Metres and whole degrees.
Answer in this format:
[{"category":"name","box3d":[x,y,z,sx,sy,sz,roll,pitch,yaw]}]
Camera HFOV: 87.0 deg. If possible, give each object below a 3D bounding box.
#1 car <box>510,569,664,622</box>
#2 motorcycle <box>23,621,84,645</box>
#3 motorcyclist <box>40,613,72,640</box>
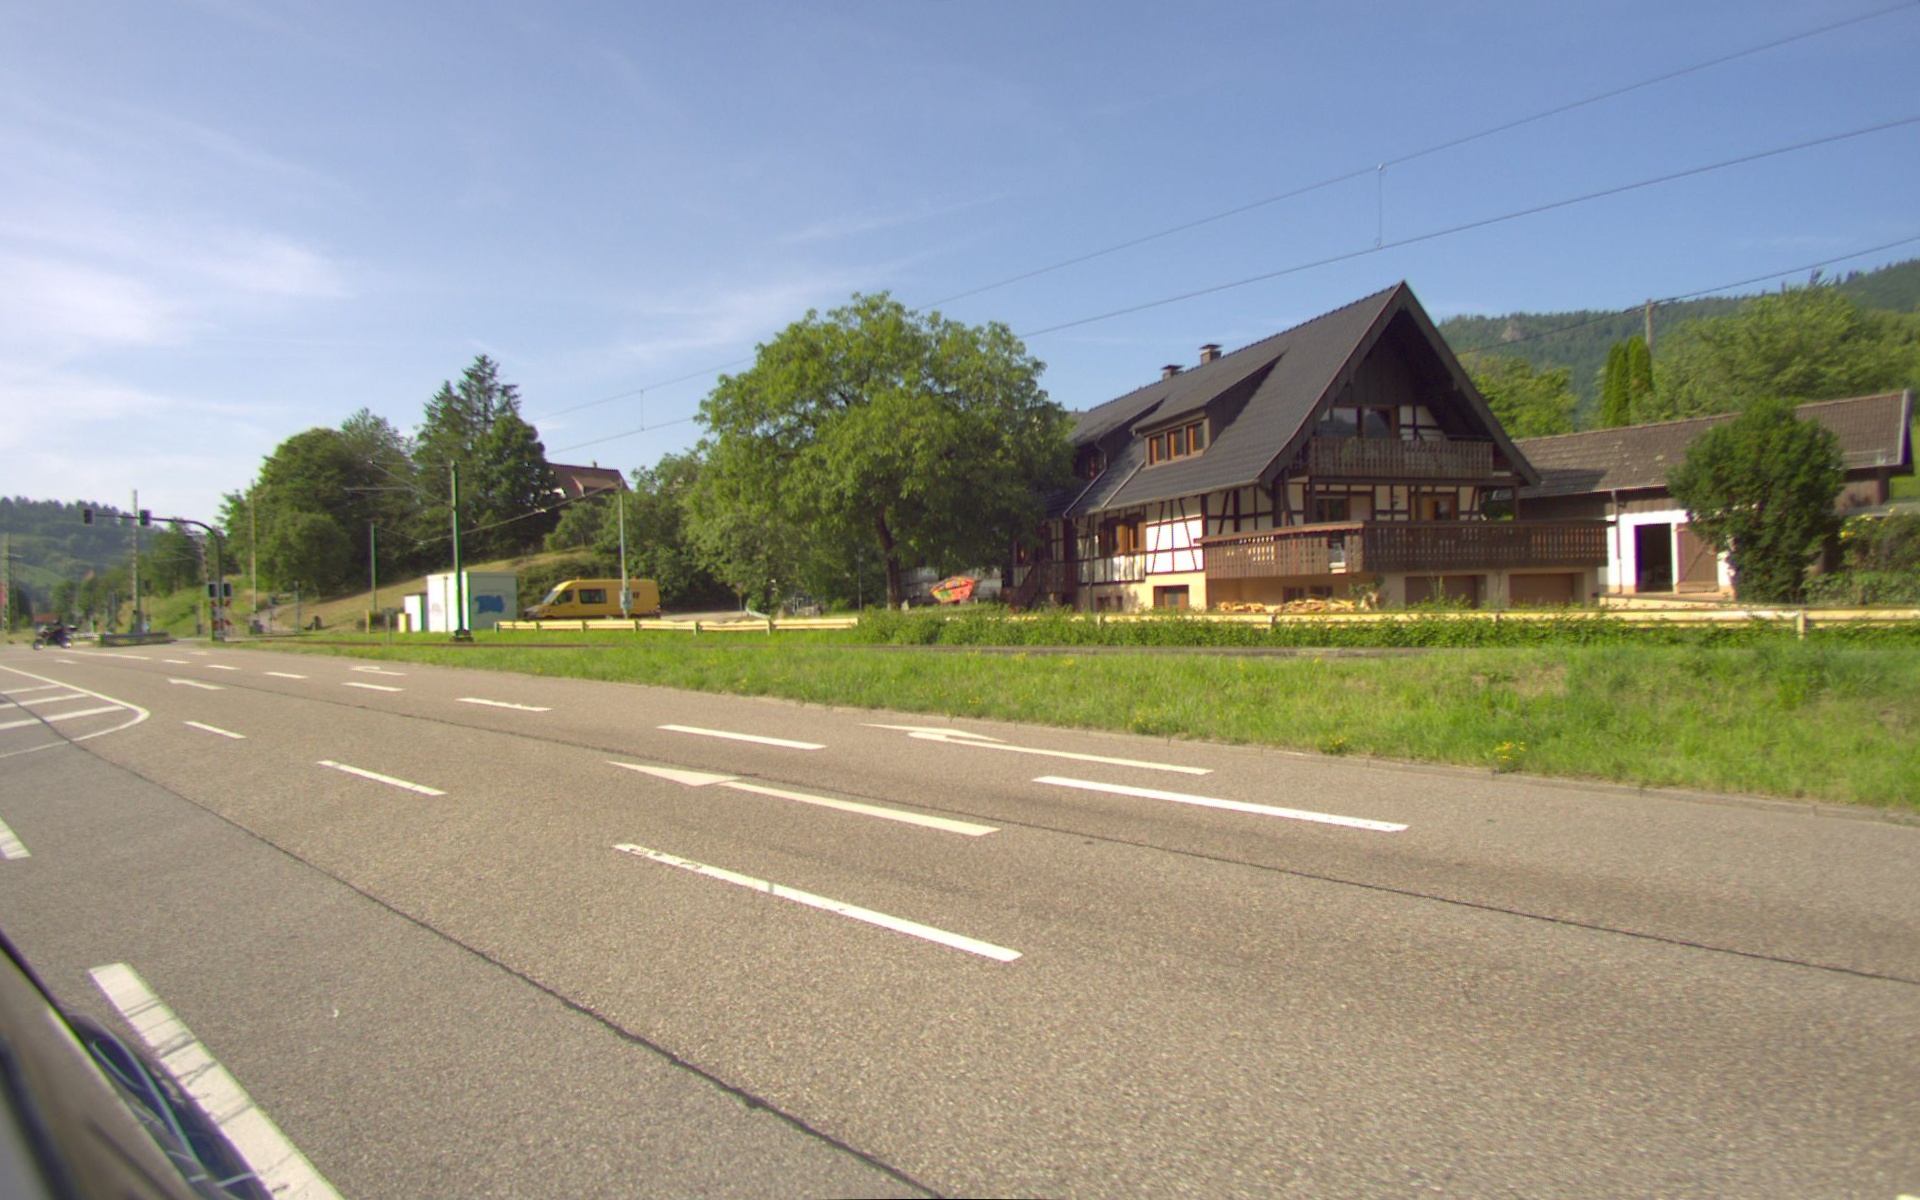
[{"category":"car","box3d":[-19.481,-0.251,53.033,6.973,2.475,2.954,-3,1,-38]},{"category":"motorcycle","box3d":[-55.893,2.002,62.408,1.001,1.278,2.569,-2,2,28]},{"category":"motorcyclist","box3d":[-55.856,1.615,62.522,0.987,1.555,1.175,-2,2,29]}]
